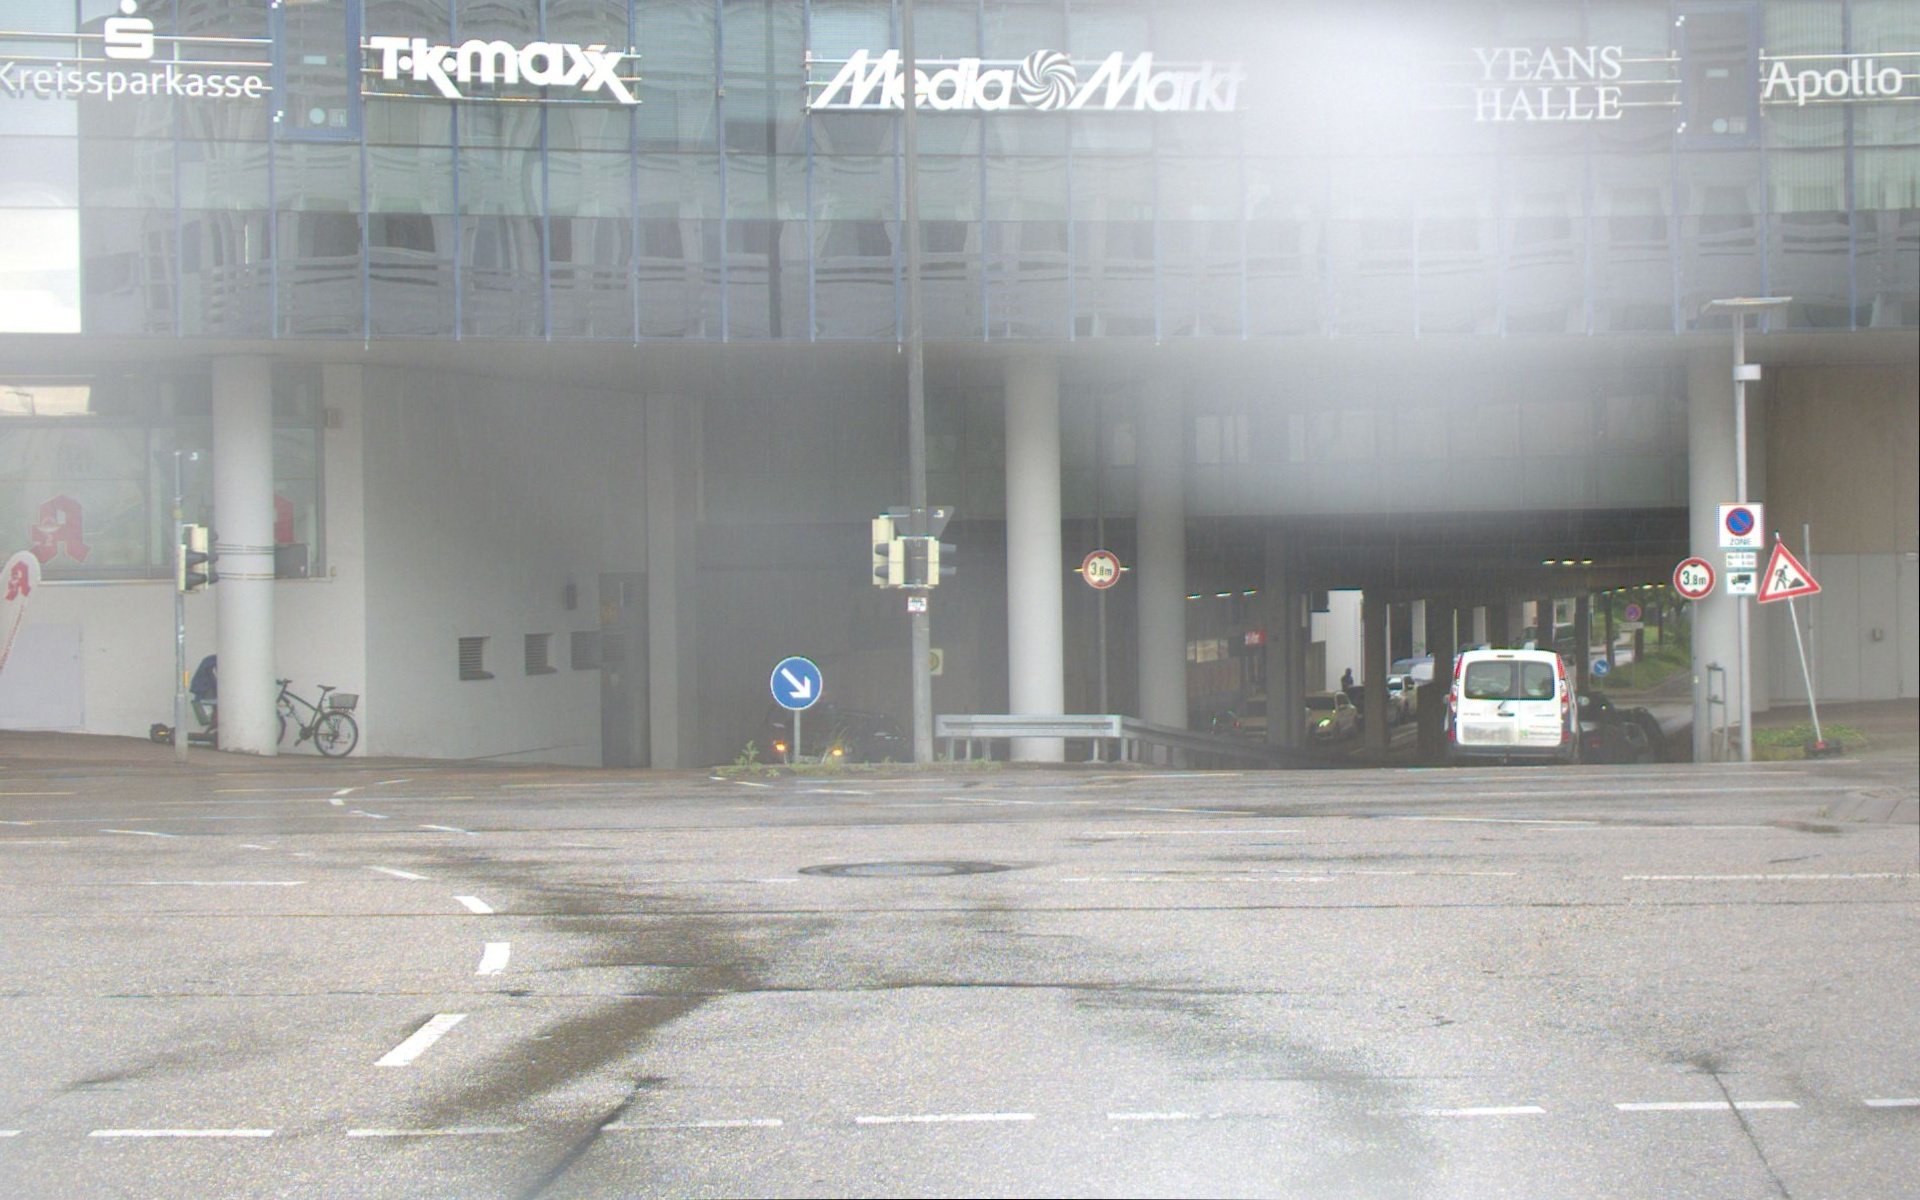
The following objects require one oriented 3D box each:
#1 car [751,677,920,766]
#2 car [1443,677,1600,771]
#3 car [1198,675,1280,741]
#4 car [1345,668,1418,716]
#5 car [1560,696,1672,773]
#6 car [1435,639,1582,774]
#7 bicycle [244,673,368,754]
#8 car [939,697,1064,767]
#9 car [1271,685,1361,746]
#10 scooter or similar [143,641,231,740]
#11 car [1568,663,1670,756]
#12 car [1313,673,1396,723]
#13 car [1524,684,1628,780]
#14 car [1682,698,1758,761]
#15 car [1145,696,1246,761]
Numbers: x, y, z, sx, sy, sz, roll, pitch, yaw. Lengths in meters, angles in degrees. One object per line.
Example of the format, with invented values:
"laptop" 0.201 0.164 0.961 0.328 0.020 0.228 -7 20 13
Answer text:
"car" -2.222 2.241 62.519 1.894 1.465 4.023 -1 -4 16
"car" 9.224 2.058 56.273 1.759 1.459 3.938 -2 -3 21
"car" 7.825 3.003 96.103 1.837 1.722 3.998 0 0 11
"car" 14.084 3.056 114.612 1.994 1.459 3.998 -1 0 13
"car" 12.601 2.597 65.891 1.781 1.396 3.996 -1 -3 15
"car" 7.793 1.487 48.616 1.926 1.791 4.294 -1 -1 10
"bicycle" -9.266 1.611 48.725 1.581 1.014 0.452 6 -2 -31
"car" 0.923 2.847 74.442 1.772 1.459 3.872 -1 -2 15
"car" 10.567 3.407 101.890 1.995 1.658 3.997 1 0 15
"scooter or similar" -10.839 1.271 48.221 1.166 1.368 0.489 1 0 -15
"car" 13.588 2.232 70.755 1.792 1.764 3.997 -1 -1 14
"car" 12.588 3.103 109.529 1.995 1.459 3.997 -1 -1 15
"car" 10.970 2.347 61.067 1.634 1.606 4.260 -2 -3 12
"car" 20.116 3.401 90.914 1.889 1.486 3.838 1 0 13
"car" 6.284 3.394 91.302 1.916 1.582 3.936 -1 -1 15
